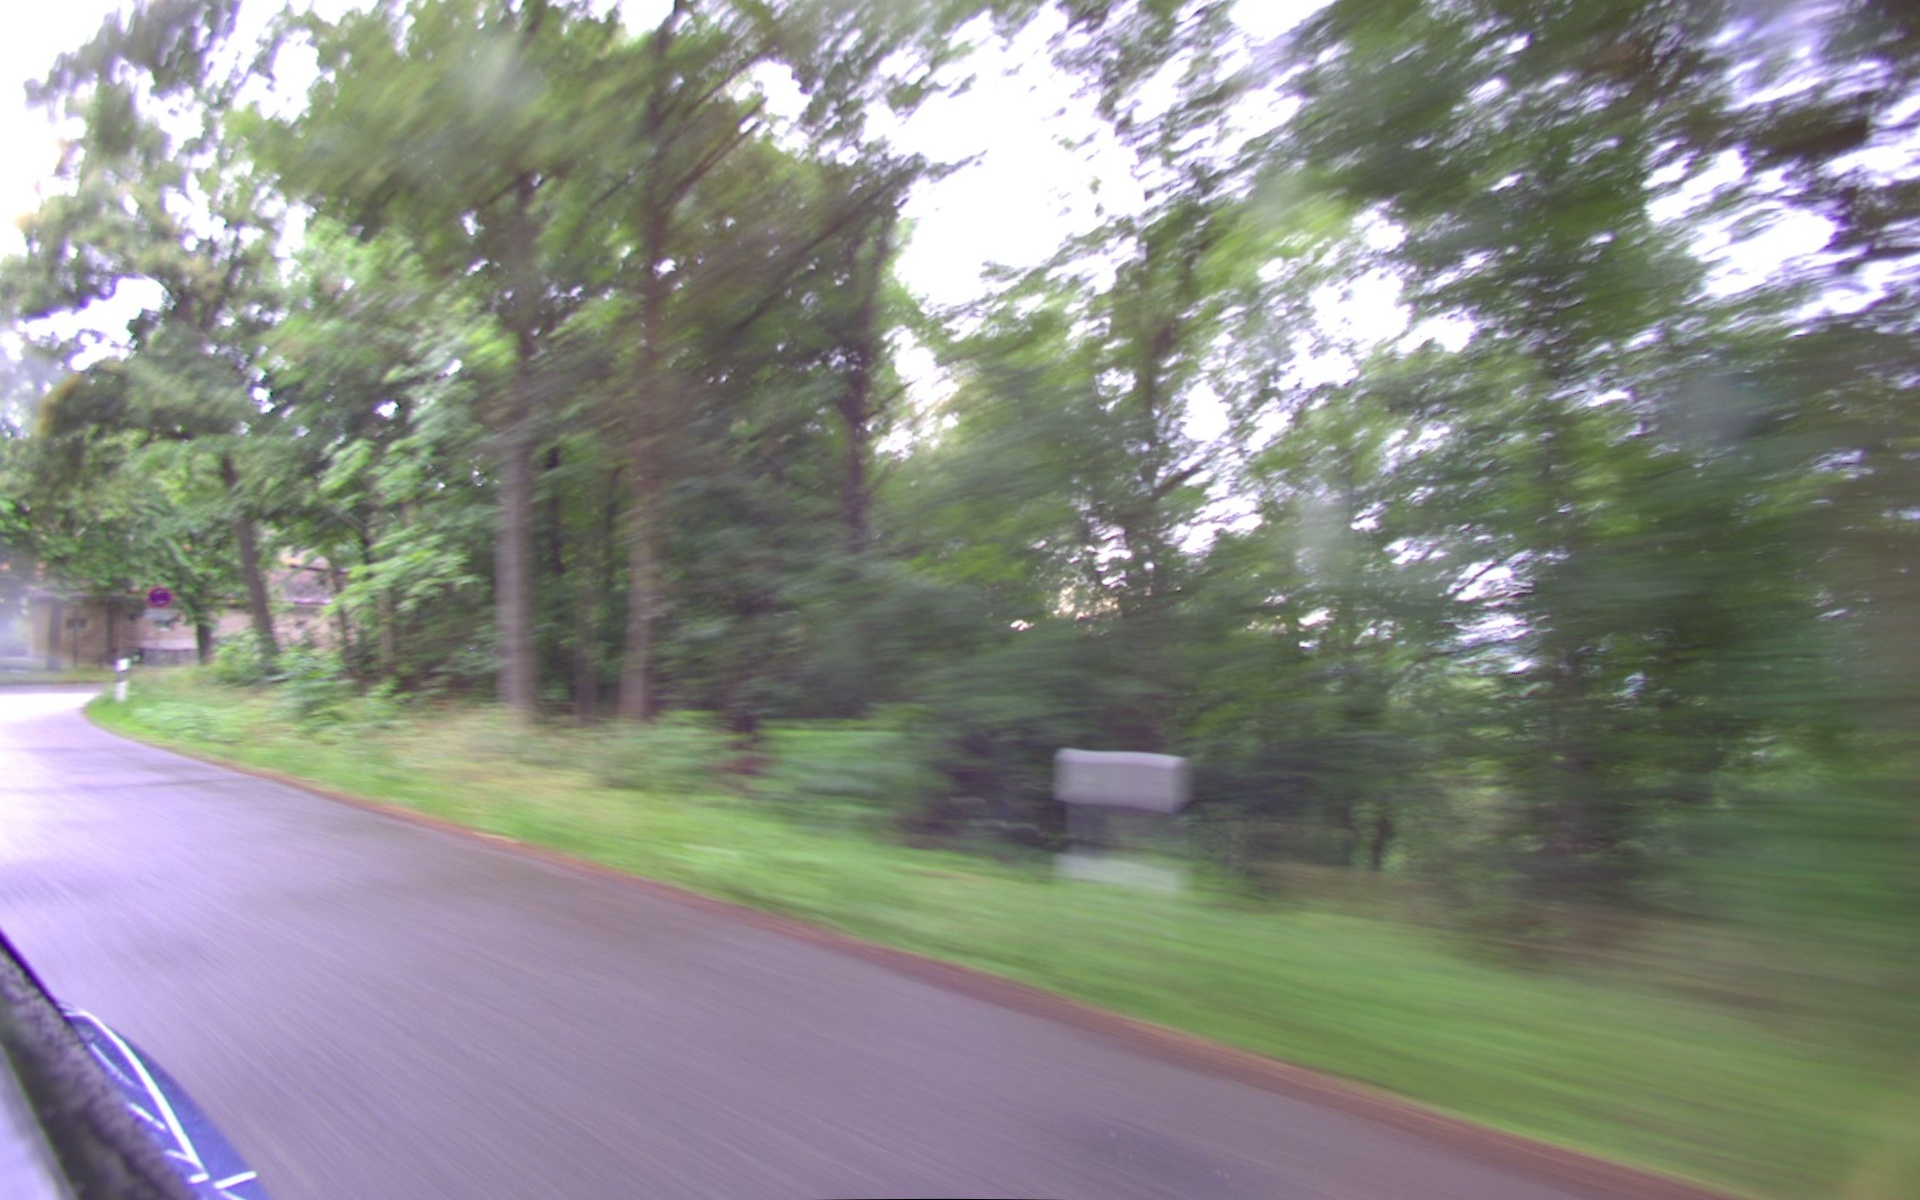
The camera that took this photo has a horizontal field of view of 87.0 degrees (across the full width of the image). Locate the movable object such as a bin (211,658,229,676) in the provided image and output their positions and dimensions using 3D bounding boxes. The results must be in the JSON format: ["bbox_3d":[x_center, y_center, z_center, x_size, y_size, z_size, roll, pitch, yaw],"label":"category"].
[{"bbox_3d":[-45.047,4.103,61.585,0.622,1.083,0.763,1,-4,-17],"label":"movable object such as a bin"}]
